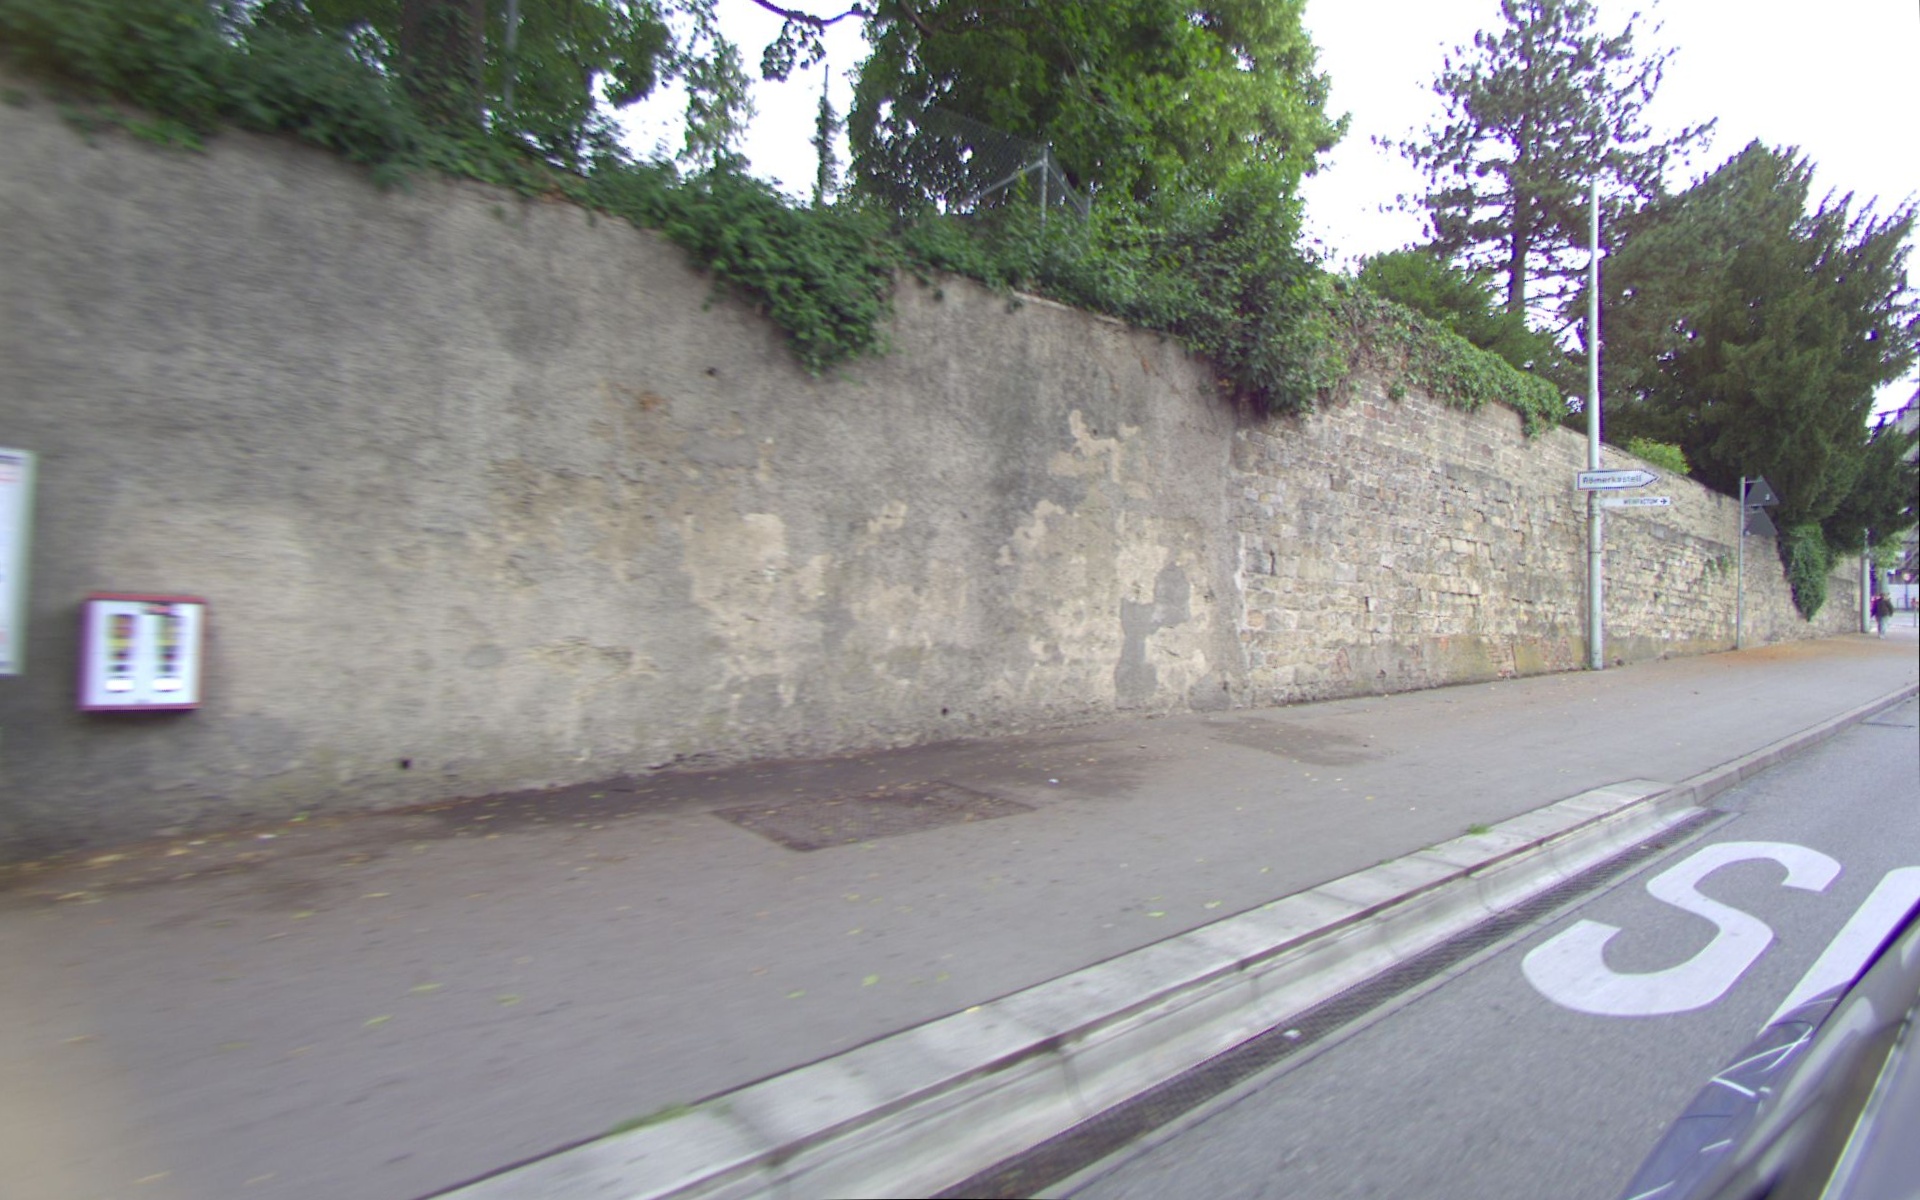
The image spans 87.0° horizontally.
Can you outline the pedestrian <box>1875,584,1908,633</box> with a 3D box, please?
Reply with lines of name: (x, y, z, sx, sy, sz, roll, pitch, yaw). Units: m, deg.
pedestrian: (31.367, 0.283, 34.071, 0.731, 1.595, 0.732, 1, 1, -43)
